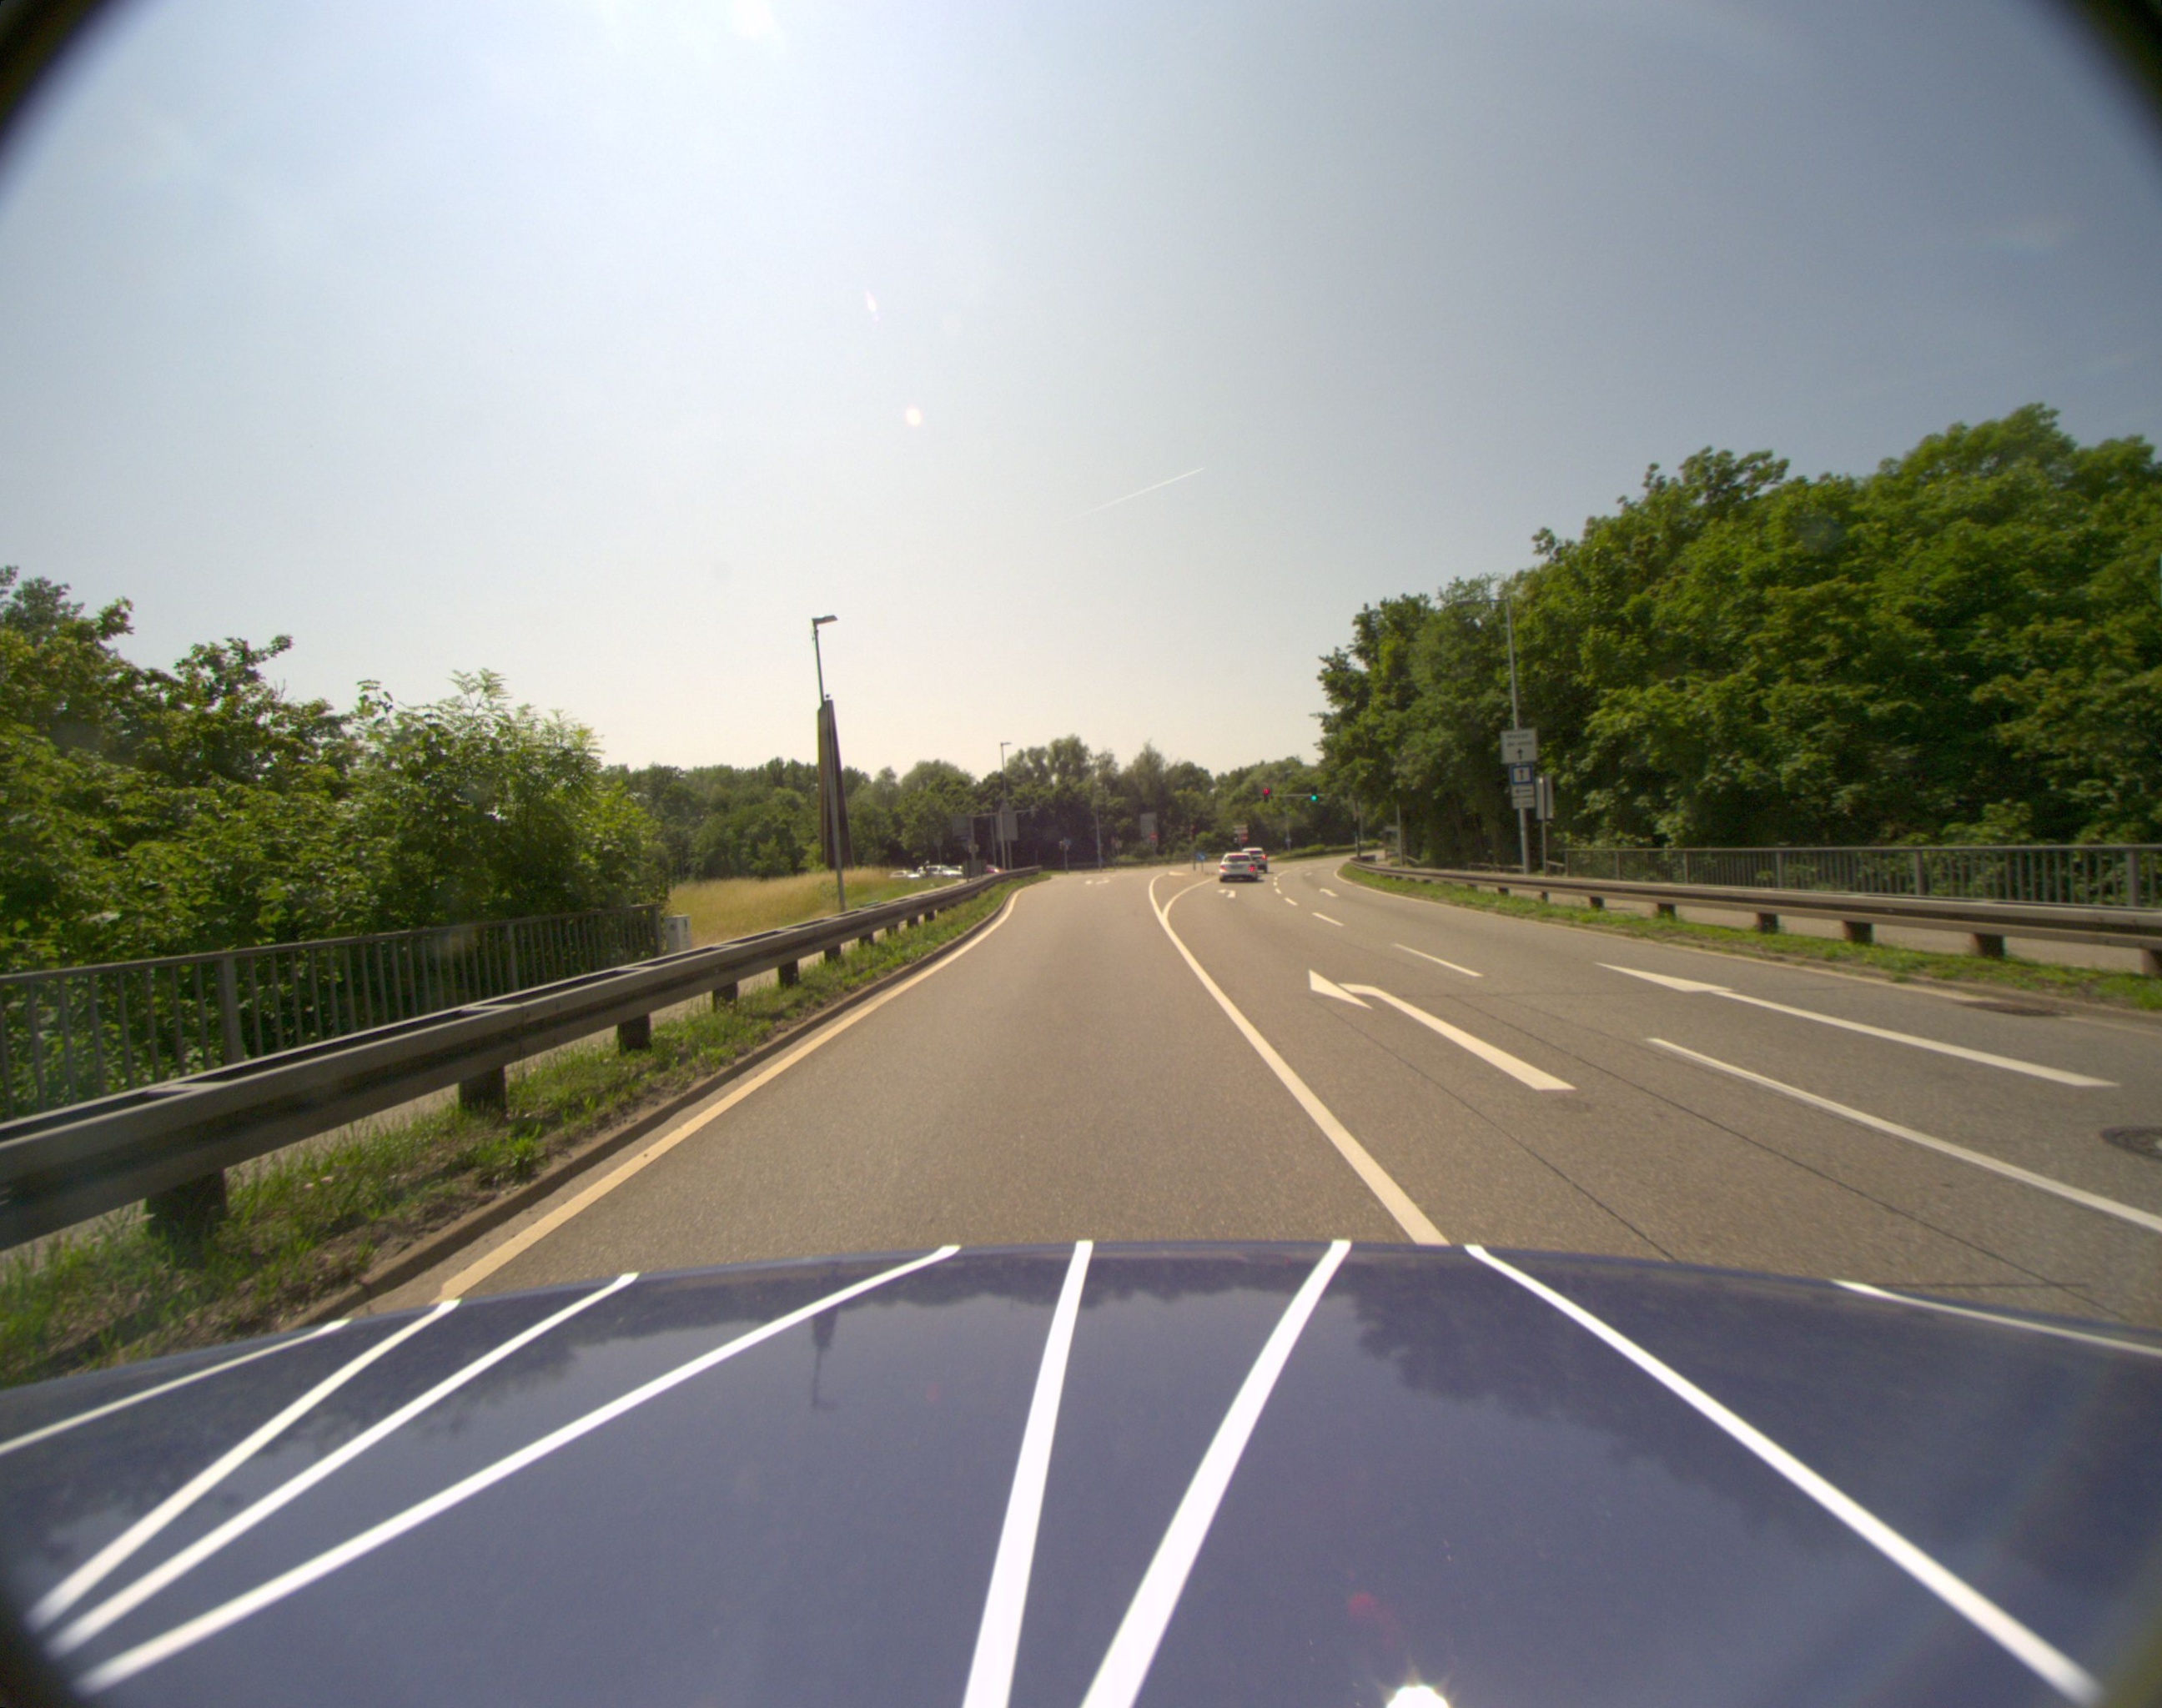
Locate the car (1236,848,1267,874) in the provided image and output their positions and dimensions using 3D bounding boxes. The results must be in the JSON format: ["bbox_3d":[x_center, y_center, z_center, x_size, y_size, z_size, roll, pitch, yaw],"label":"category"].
[{"bbox_3d":[11.255,0.417,50.093,1.830,1.629,4.583,-2,0,13],"label":"car"}]

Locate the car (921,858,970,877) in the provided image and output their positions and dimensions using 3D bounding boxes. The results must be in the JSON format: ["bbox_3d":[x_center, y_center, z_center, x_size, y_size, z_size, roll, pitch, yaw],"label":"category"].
[{"bbox_3d":[-12.352,1.222,69.121,4.286,1.497,1.871,-3,0,35],"label":"car"}]

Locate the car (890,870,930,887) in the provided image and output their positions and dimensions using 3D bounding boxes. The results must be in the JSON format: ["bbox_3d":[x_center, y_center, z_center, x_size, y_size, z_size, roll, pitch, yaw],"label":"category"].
[{"bbox_3d":[-17.232,2.478,76.636,3.989,1.422,1.585,-3,0,35],"label":"car"}]

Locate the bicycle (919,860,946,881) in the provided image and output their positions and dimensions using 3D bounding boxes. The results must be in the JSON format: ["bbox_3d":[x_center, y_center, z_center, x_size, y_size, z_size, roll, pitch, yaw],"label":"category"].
[{"bbox_3d":[-11.570,1.273,59.062,2.368,1.565,0.658,-3,0,40],"label":"bicycle"}]

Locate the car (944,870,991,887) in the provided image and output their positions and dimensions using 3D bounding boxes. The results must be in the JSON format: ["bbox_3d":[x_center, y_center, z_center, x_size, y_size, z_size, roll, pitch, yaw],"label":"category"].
[{"bbox_3d":[-10.879,2.321,72.791,4.175,1.415,1.871,-3,0,35],"label":"car"}]

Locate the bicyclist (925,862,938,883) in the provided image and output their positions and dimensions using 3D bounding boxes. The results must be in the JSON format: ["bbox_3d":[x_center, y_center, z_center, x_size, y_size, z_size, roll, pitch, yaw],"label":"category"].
[{"bbox_3d":[-11.625,1.464,59.124,0.690,1.589,0.672,-3,0,40],"label":"bicyclist"}]

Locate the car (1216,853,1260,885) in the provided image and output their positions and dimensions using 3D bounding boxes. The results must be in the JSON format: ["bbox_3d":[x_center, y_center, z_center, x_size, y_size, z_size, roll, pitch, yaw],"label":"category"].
[{"bbox_3d":[7.850,0.700,37.652,1.830,1.398,4.893,-1,0,15],"label":"car"}]

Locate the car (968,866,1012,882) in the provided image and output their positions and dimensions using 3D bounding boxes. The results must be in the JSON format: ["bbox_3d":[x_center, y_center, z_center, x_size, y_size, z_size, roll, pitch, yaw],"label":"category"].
[{"bbox_3d":[-9.028,1.961,75.128,4.175,1.346,1.758,-3,0,35],"label":"car"}]
